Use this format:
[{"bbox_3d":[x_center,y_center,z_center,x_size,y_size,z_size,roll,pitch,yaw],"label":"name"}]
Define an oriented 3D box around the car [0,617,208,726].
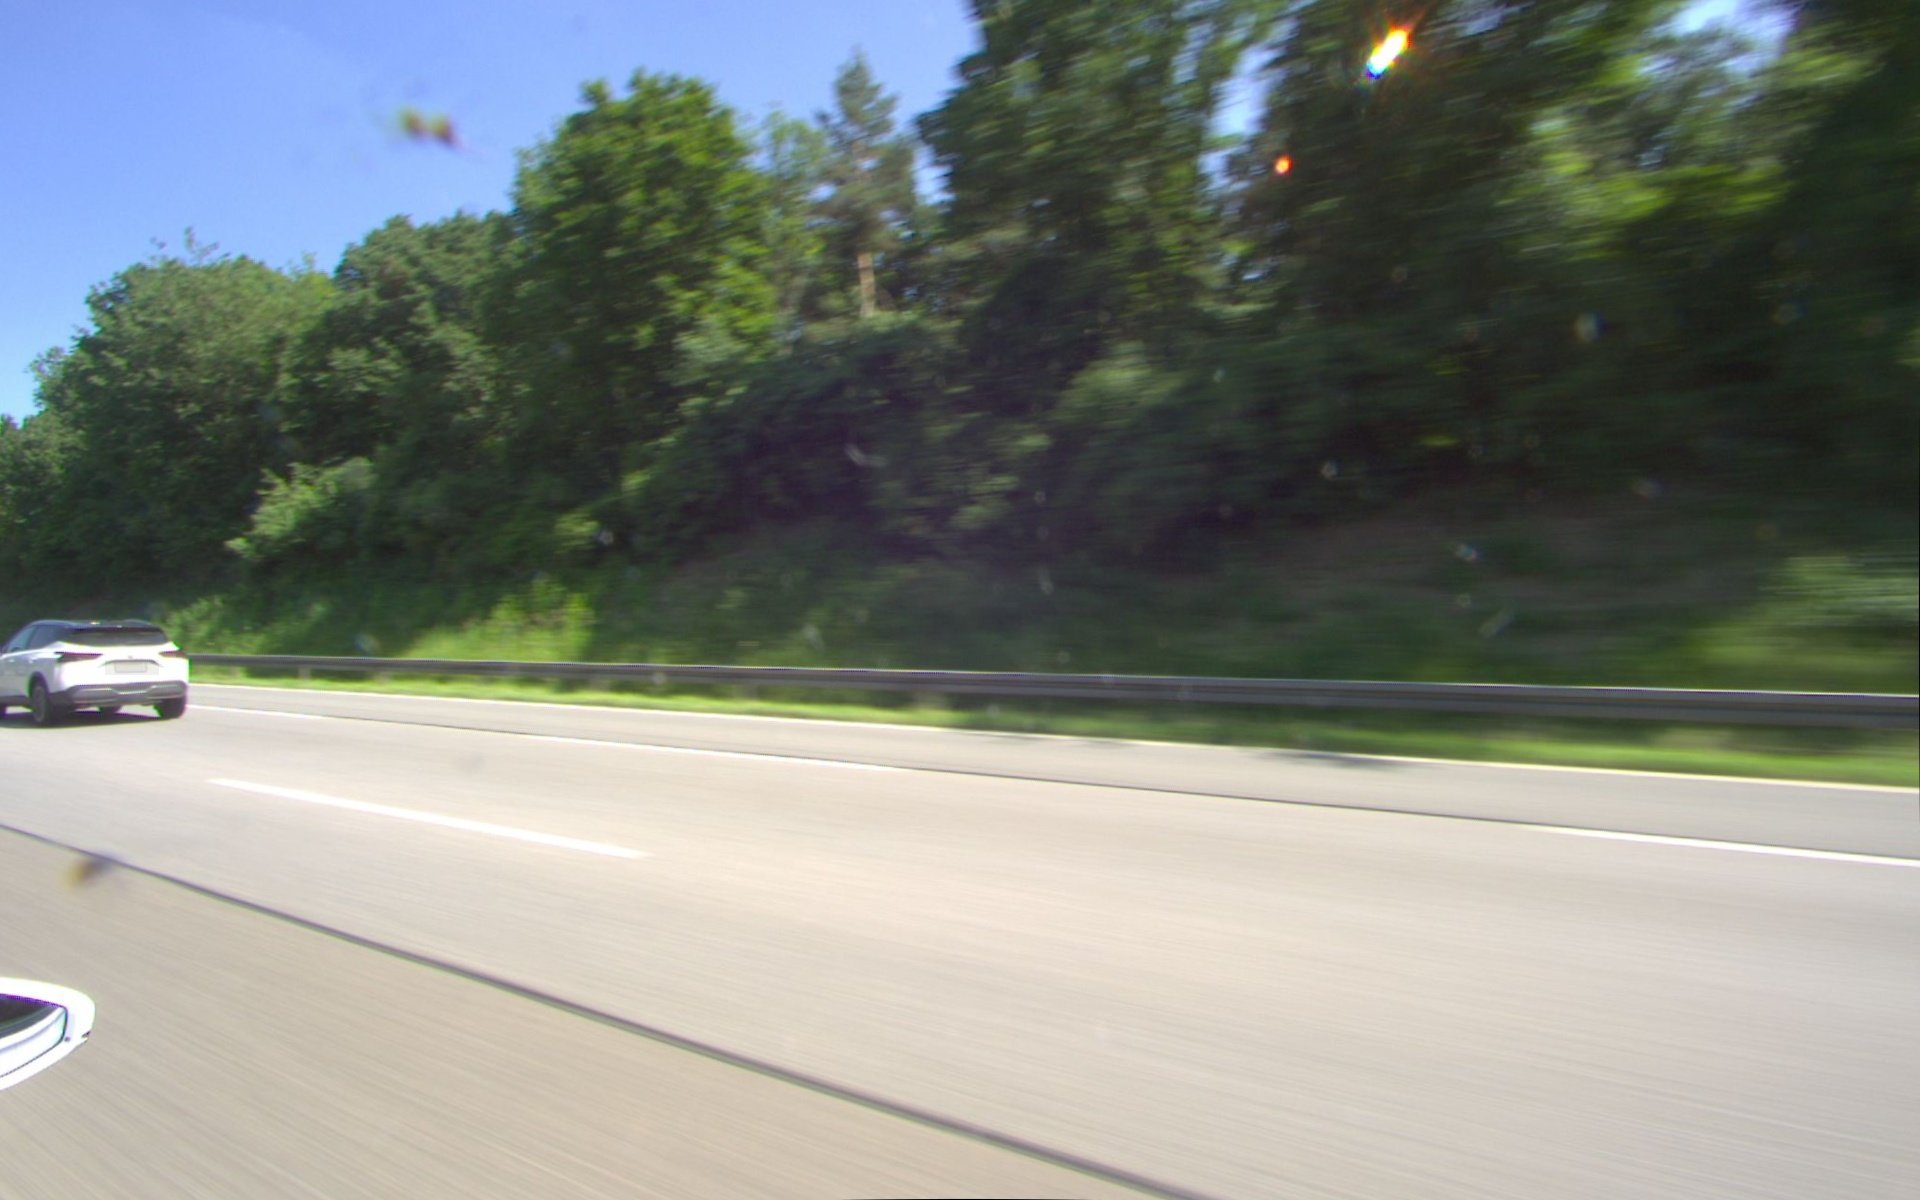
[{"bbox_3d":[-14.313,1.097,16.475,3.978,1.588,1.840,-1,-1,33],"label":"car"}]
